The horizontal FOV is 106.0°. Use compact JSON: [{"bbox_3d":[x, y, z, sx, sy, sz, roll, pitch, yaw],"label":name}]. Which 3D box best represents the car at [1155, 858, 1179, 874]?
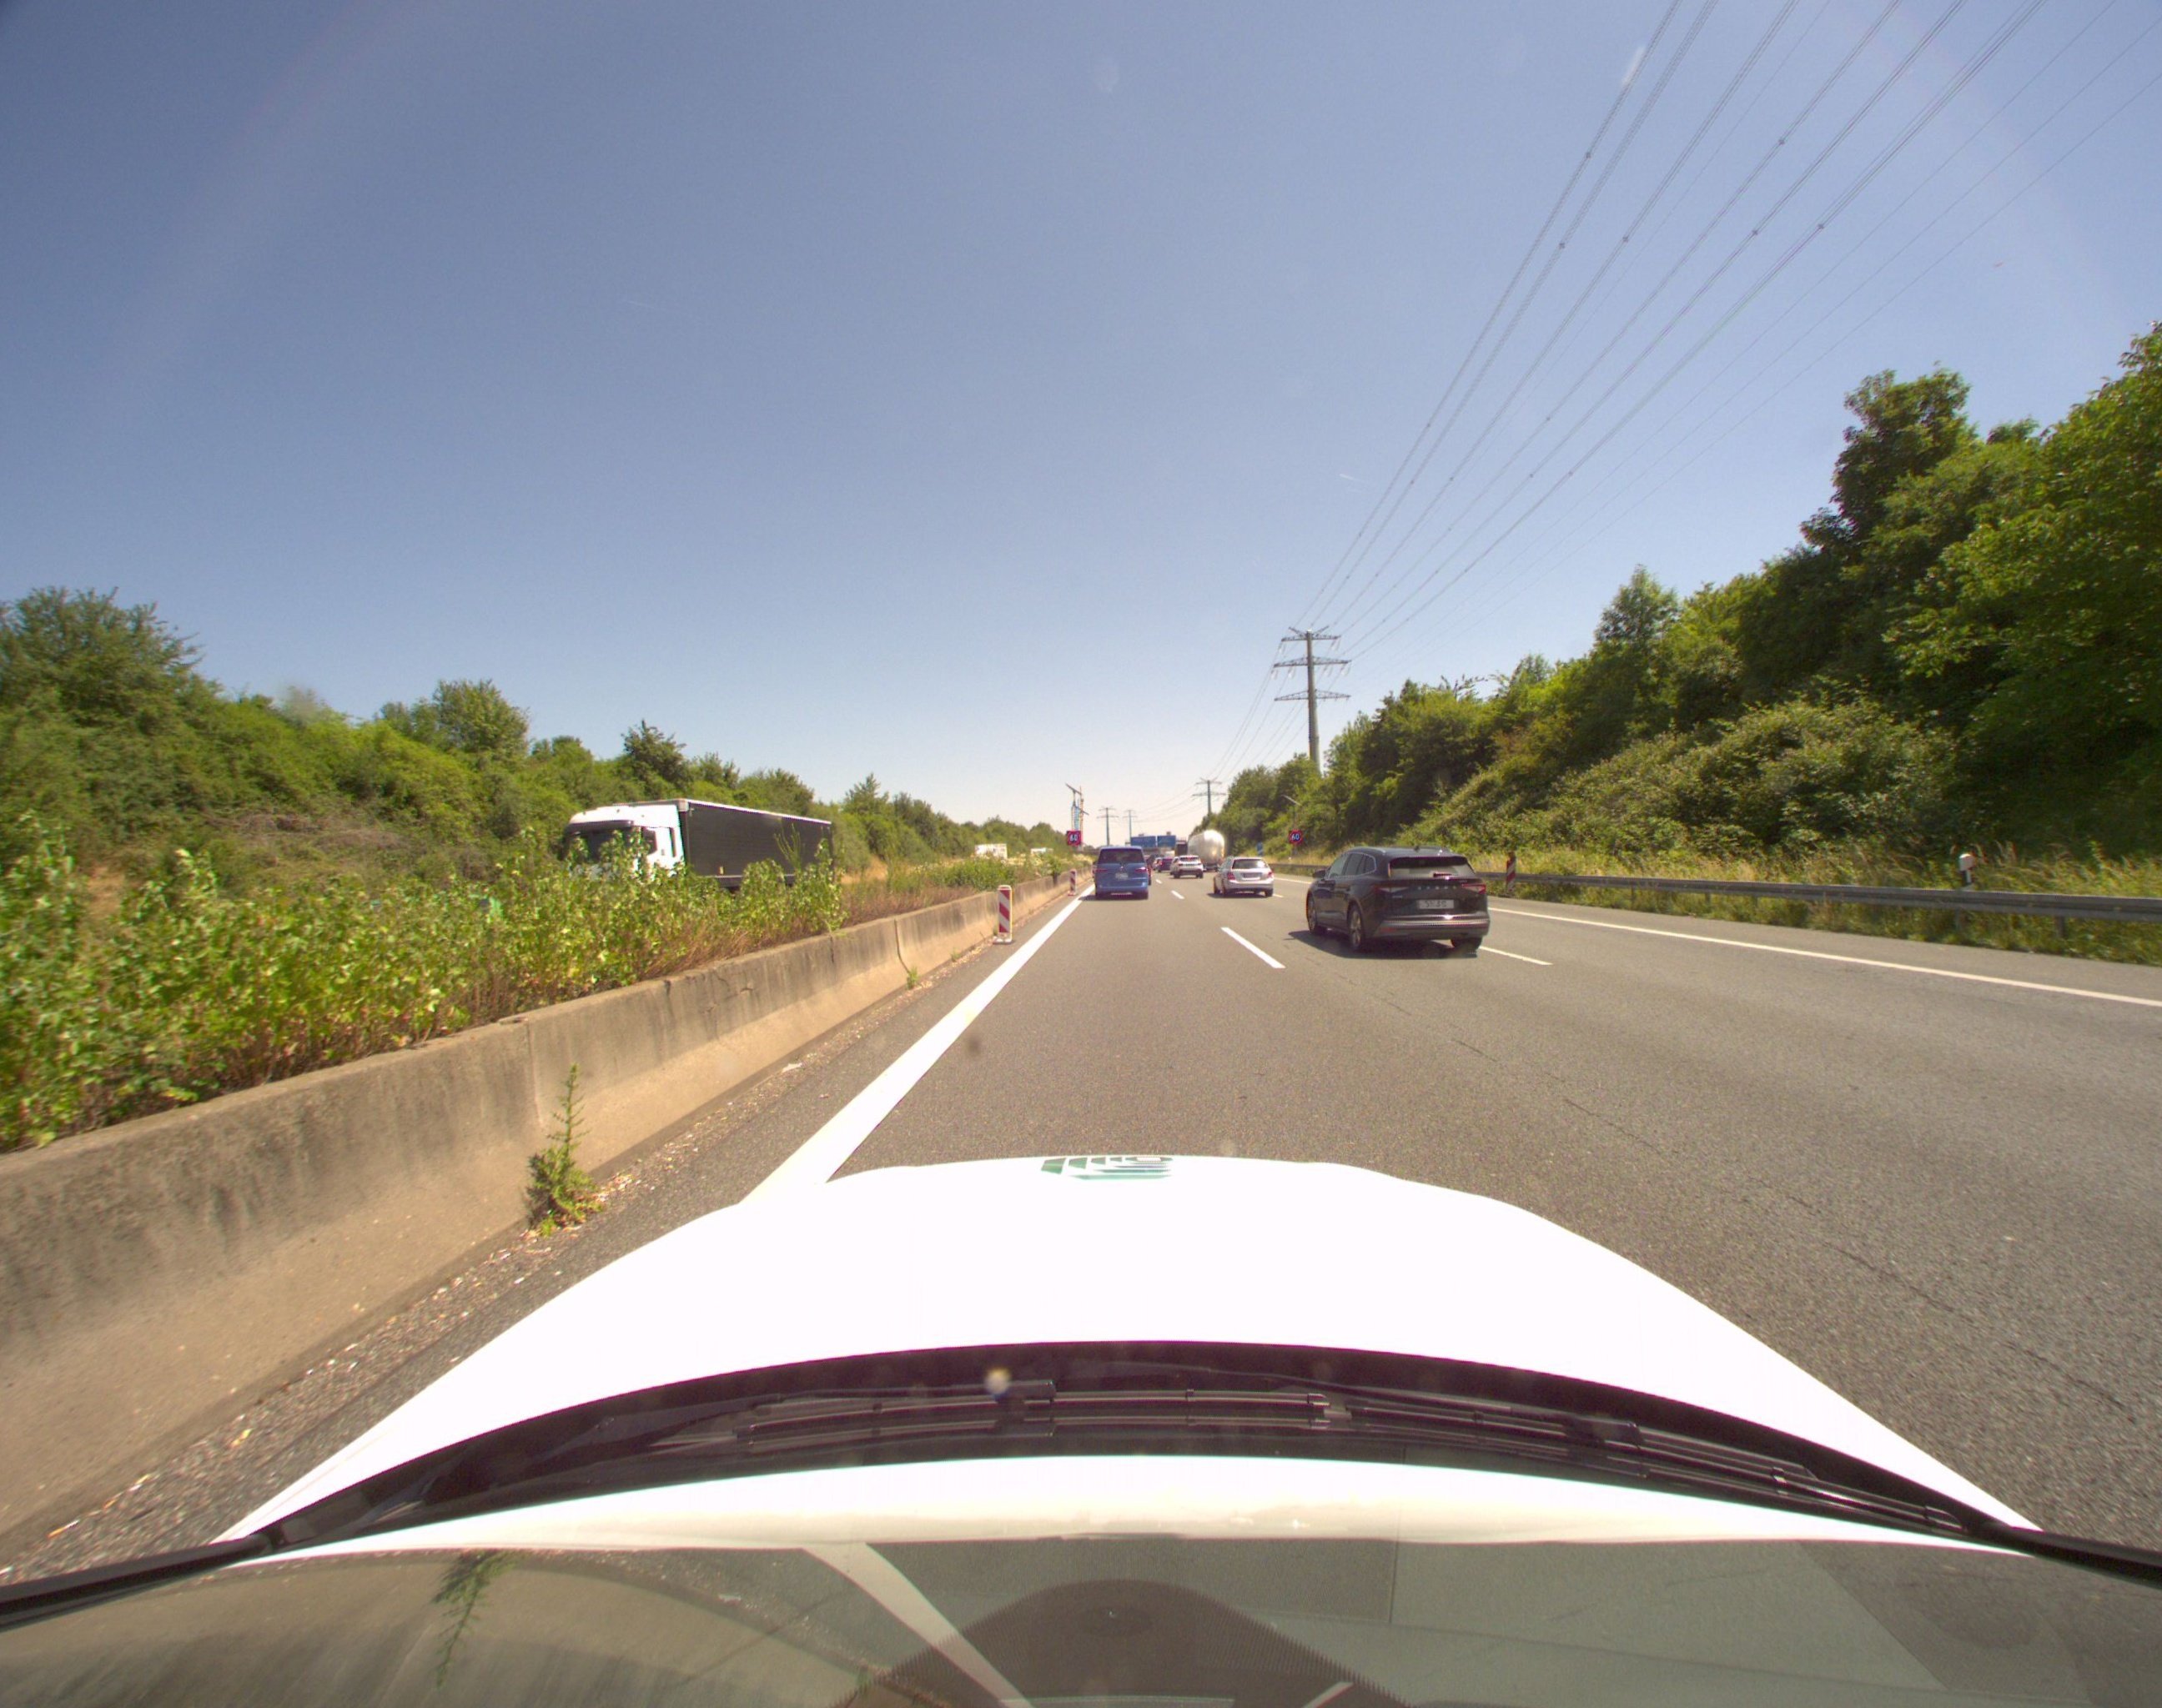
[{"bbox_3d":[8.221,1.126,78.104,1.901,1.516,4.384,0,0,1],"label":"car"}]

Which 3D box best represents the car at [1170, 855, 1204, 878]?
[{"bbox_3d":[7.165,0.818,55.320,1.901,1.508,3.922,0,0,1],"label":"car"}]

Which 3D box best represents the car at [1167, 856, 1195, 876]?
[{"bbox_3d":[8.149,0.929,66.660,1.901,1.569,4.384,0,0,1],"label":"car"}]

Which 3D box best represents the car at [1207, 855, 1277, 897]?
[{"bbox_3d":[5.853,0.770,30.014,1.814,1.437,4.384,0,0,1],"label":"car"}]

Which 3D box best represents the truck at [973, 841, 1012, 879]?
[{"bbox_3d":[-9.994,0.701,92.552,2.751,3.888,9.035,-5,-1,2],"label":"truck"}]

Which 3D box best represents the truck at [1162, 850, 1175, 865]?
[{"bbox_3d":[16.305,0.672,152.081,1.986,2.724,5.683,0,0,2],"label":"truck"}]

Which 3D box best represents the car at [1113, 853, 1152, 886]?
[{"bbox_3d":[2.695,0.778,43.419,1.901,1.631,4.385,-1,0,2],"label":"car"}]

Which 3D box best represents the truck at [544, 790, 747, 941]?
[{"bbox_3d":[-13.968,0.349,26.854,2.740,4.167,6.415,-5,-1,3],"label":"truck"}]

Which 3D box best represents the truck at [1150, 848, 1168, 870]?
[{"bbox_3d":[9.833,0.628,103.281,1.986,2.724,5.683,0,0,2],"label":"truck"}]

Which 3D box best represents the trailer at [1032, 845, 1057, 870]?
[{"bbox_3d":[-6.549,0.673,148.439,3.004,4.167,14.031,-5,-1,3],"label":"trailer"}]

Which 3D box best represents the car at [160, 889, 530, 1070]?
[{"bbox_3d":[-10.352,1.638,11.908,1.895,2.013,3.681,-2,0,2],"label":"car"}]

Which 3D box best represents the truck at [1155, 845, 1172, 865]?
[{"bbox_3d":[18.569,0.232,183.375,2.926,4.291,12.558,0,0,2],"label":"truck"}]

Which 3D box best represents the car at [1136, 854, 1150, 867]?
[{"bbox_3d":[9.621,1.034,126.877,1.986,2.014,4.002,0,0,2],"label":"car"}]

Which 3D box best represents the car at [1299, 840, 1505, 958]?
[{"bbox_3d":[5.052,0.630,13.541,1.821,1.614,4.433,-1,0,2],"label":"car"}]

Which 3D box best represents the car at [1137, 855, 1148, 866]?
[{"bbox_3d":[11.484,1.218,152.269,1.985,2.014,4.004,0,0,3],"label":"car"}]

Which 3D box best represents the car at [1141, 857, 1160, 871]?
[{"bbox_3d":[7.744,1.070,90.970,1.901,1.516,4.384,0,0,1],"label":"car"}]

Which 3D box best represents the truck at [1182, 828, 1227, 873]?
[{"bbox_3d":[12.180,-0.292,82.045,2.634,4.072,16.449,0,0,2],"label":"truck"}]

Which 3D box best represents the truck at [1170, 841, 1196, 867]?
[{"bbox_3d":[14.412,0.074,115.963,2.634,3.539,12.558,0,0,2],"label":"truck"}]

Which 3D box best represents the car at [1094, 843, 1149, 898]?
[{"bbox_3d":[1.431,0.582,29.975,1.864,1.879,4.384,0,0,1],"label":"car"}]

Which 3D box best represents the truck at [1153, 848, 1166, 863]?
[{"bbox_3d":[23.327,0.520,242.719,2.926,4.291,12.558,0,0,2],"label":"truck"}]

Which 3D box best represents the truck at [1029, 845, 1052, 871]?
[{"bbox_3d":[-6.959,0.629,140.752,3.004,4.167,5.810,-5,-1,3],"label":"truck"}]

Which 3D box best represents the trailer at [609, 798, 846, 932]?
[{"bbox_3d":[-13.638,0.392,33.809,2.742,4.167,14.206,-5,-1,3],"label":"trailer"}]
